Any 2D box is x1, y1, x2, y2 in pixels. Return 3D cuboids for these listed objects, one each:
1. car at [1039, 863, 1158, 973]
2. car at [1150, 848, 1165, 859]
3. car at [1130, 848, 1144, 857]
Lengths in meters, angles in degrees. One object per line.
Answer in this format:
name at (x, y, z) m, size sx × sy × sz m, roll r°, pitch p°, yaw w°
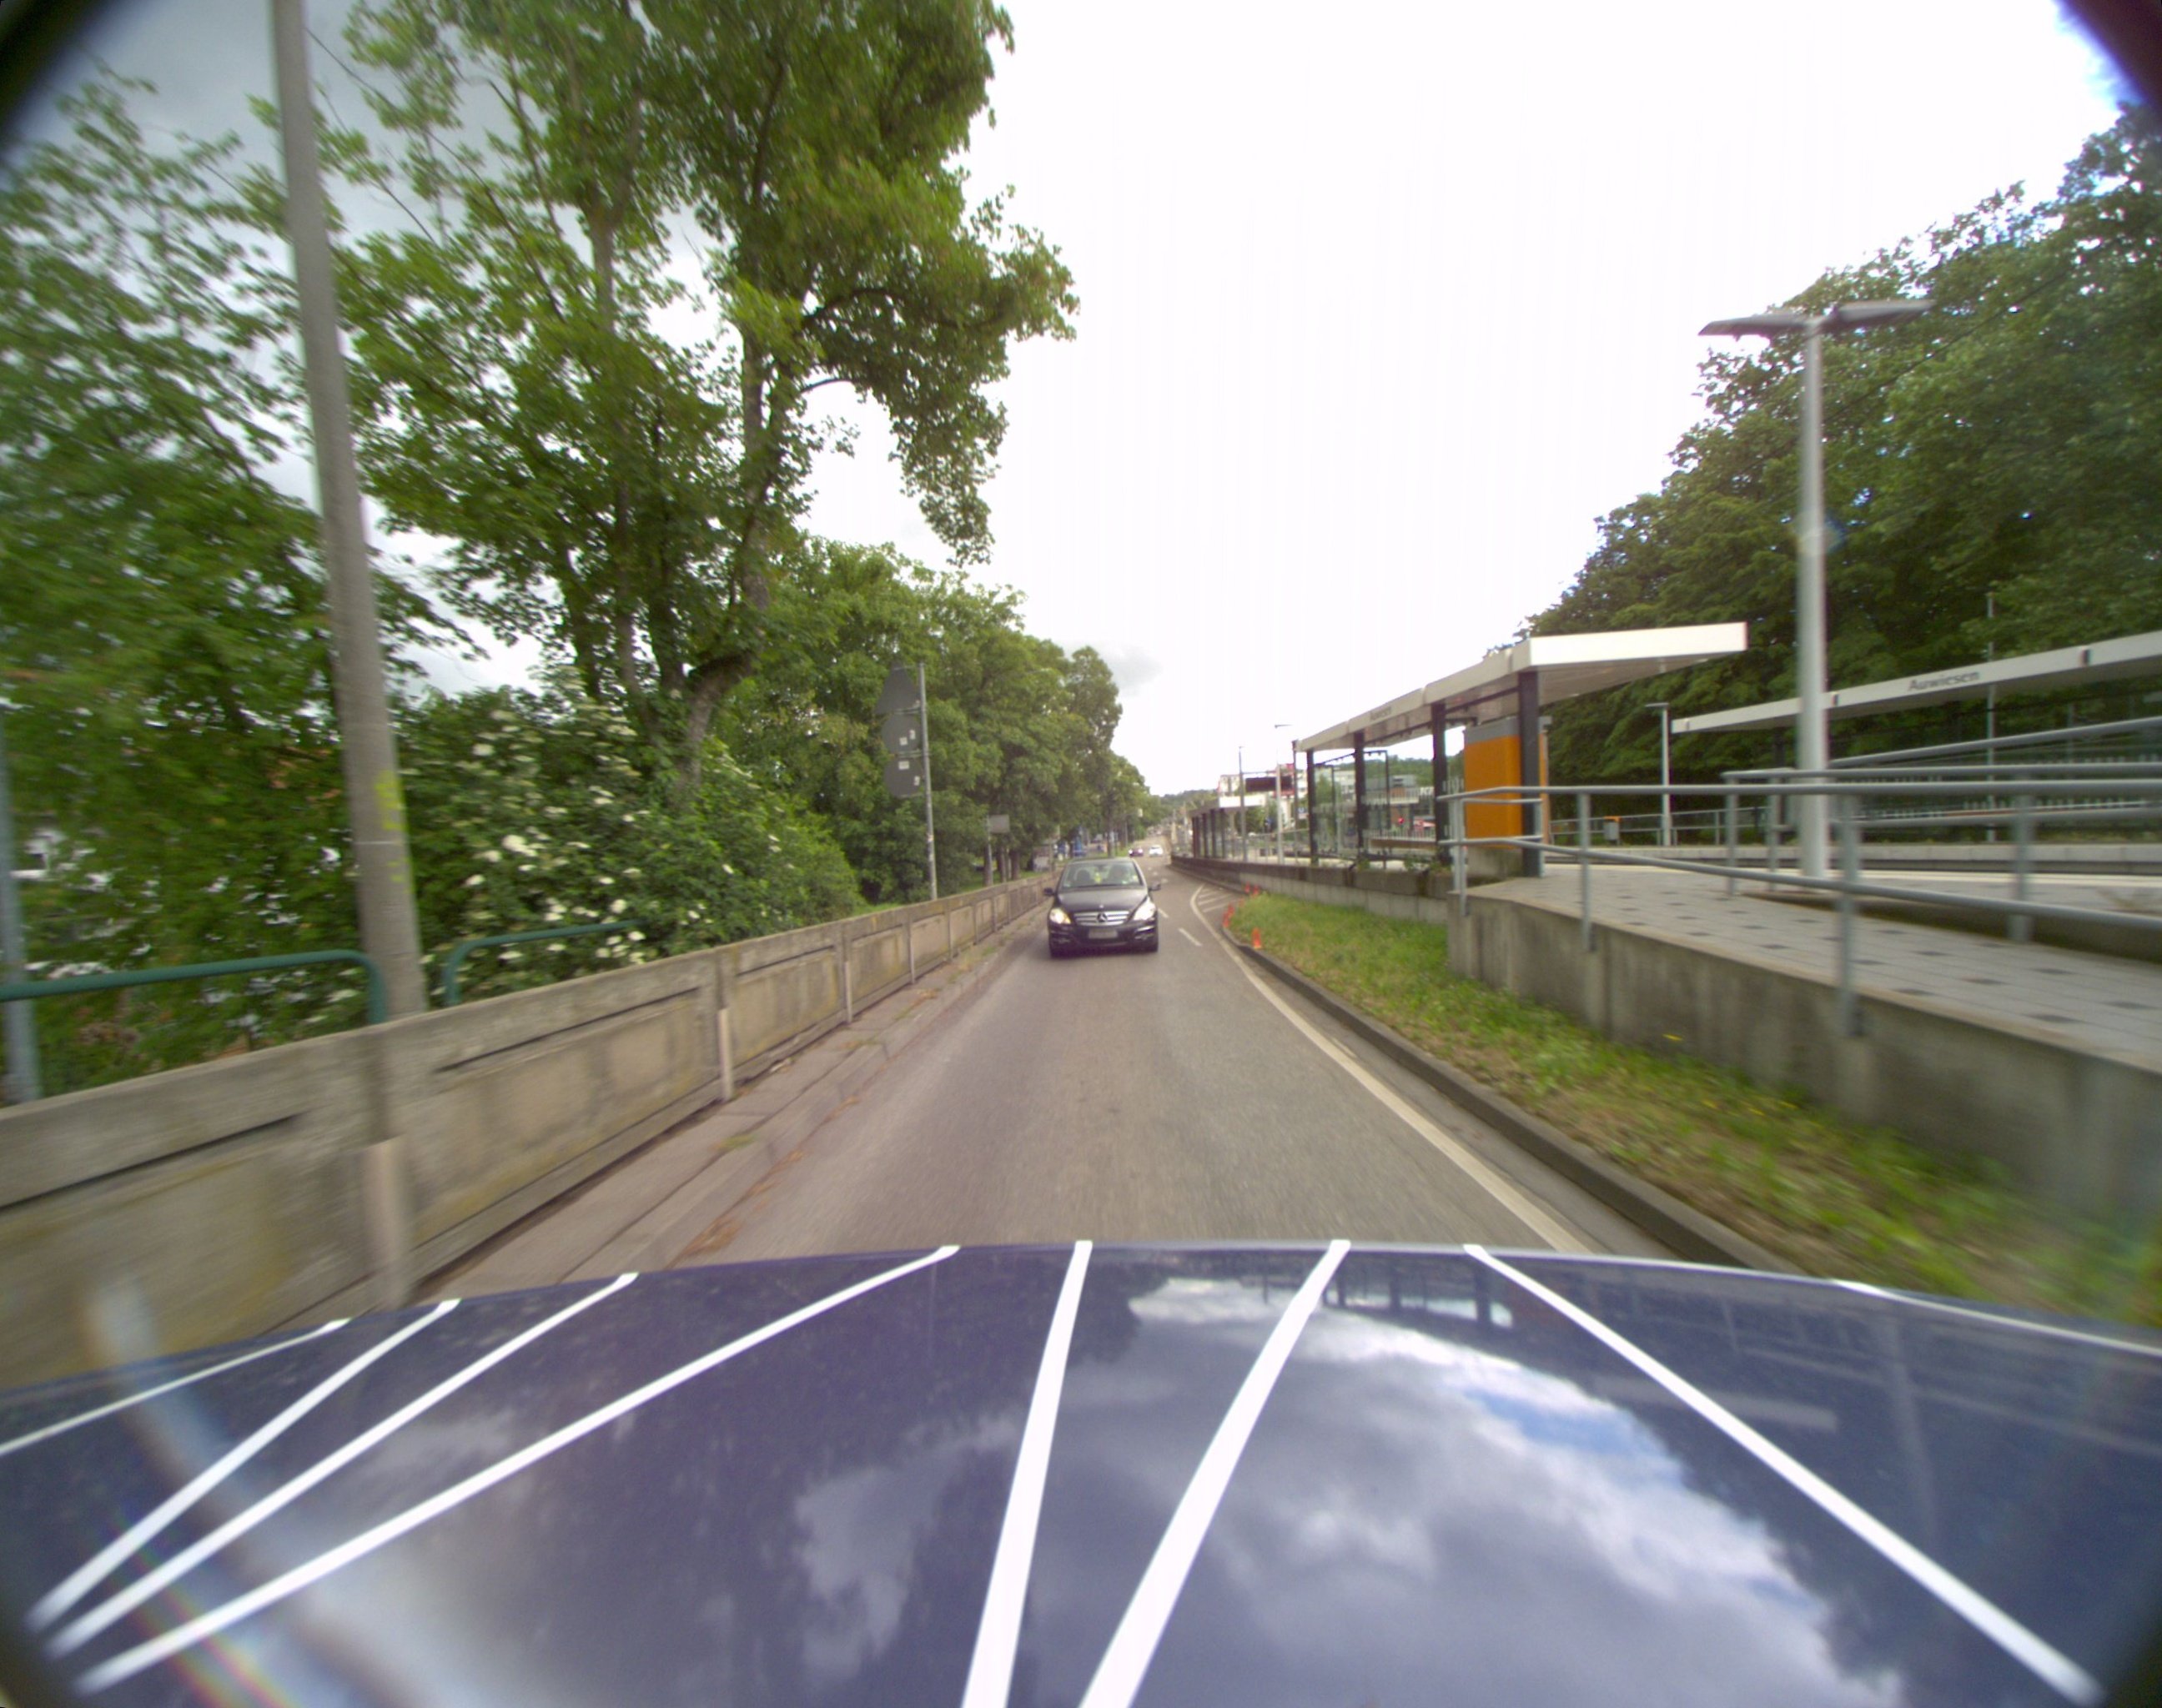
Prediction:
car at (0.476, 0.998, 13.627) m, size 1.711 × 1.573 × 4.445 m, roll -2°, pitch -1°, yaw 6°
car at (10.266, -0.088, 102.250) m, size 1.703 × 1.469 × 3.707 m, roll -2°, pitch 1°, yaw 1°
car at (8.192, -0.202, 111.215) m, size 1.716 × 1.277 × 3.574 m, roll -2°, pitch 1°, yaw 1°
